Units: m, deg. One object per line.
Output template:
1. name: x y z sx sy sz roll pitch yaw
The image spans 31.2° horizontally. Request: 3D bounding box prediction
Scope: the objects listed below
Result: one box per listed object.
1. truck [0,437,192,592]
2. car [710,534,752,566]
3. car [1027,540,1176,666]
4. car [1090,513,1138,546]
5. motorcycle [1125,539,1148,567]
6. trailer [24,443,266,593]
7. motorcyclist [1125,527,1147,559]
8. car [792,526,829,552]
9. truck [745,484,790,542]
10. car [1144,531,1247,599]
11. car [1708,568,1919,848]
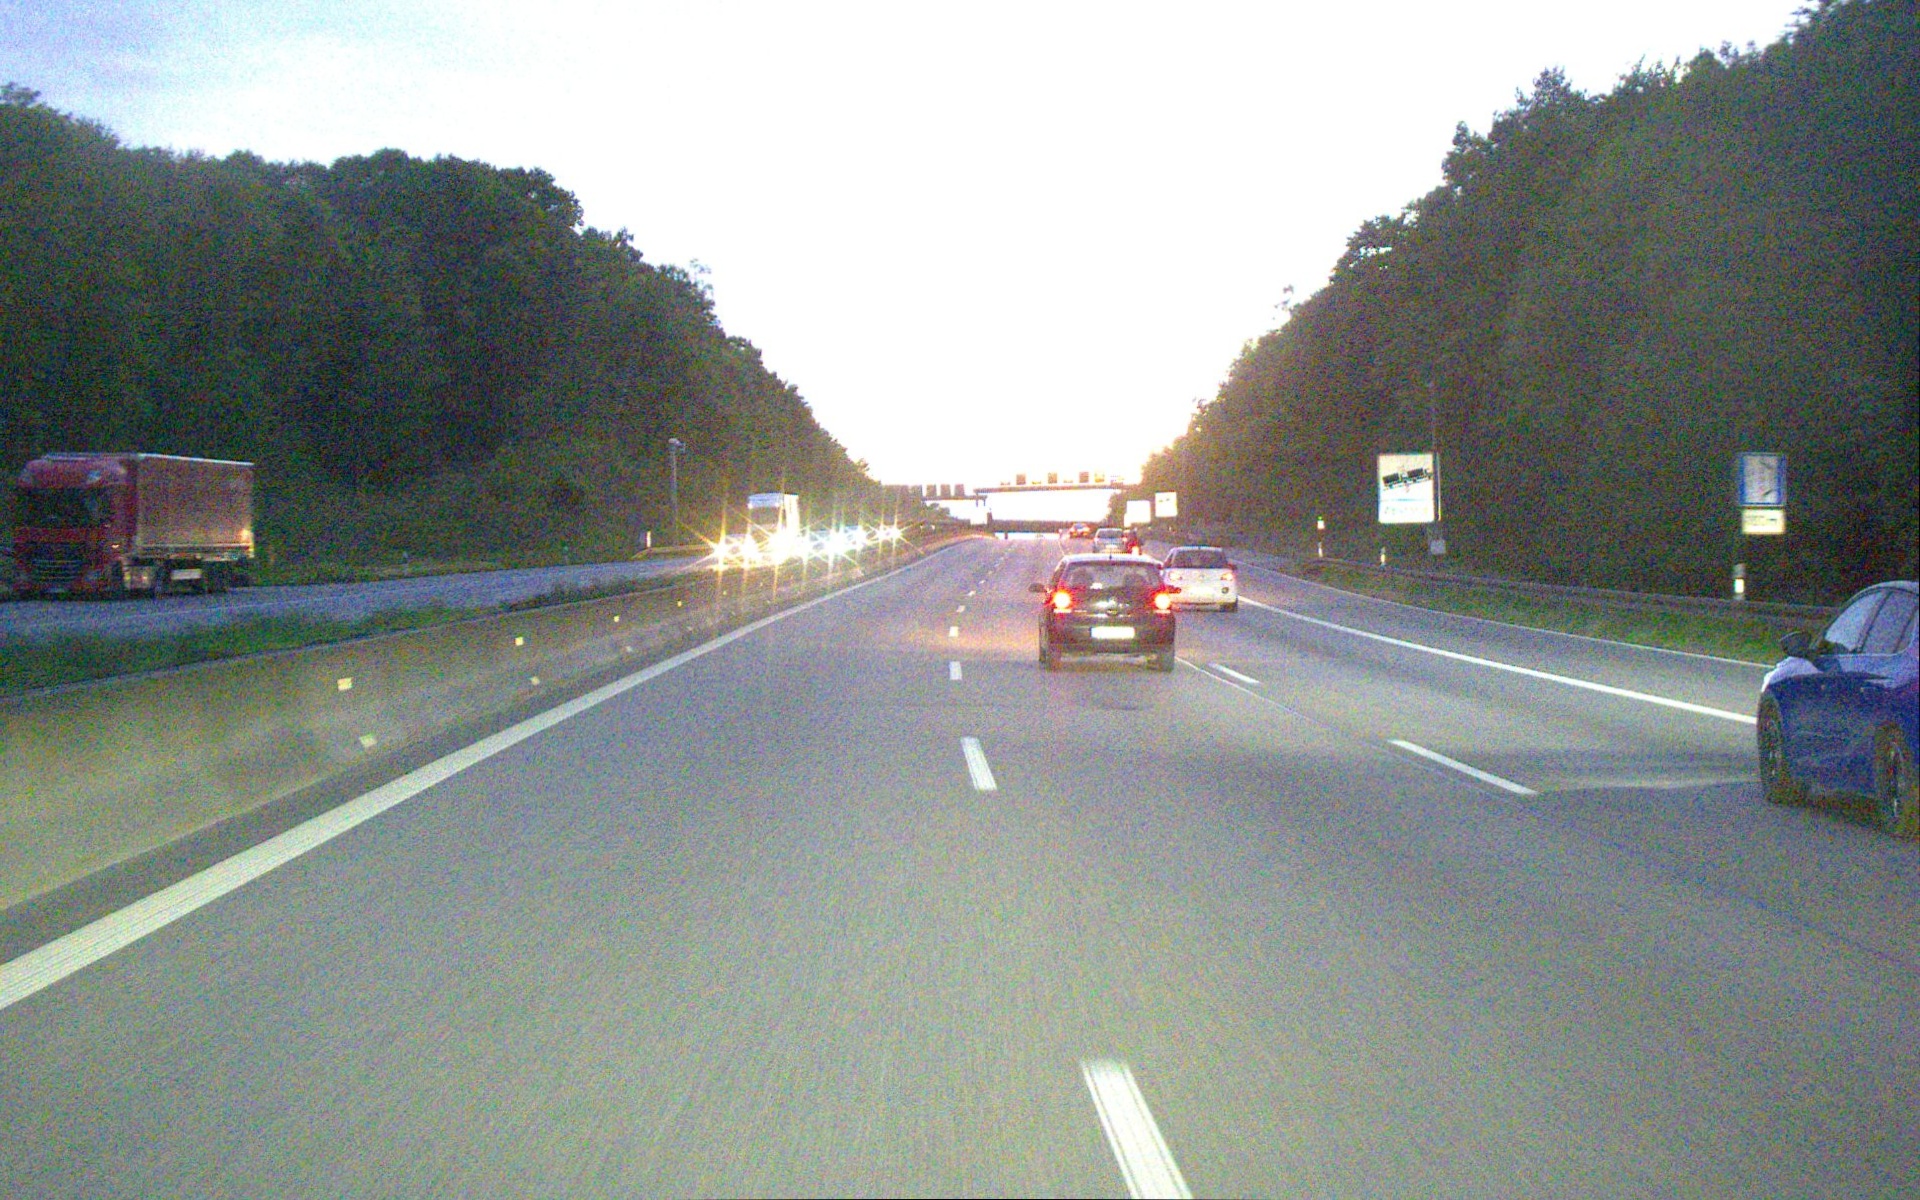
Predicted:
1. truck: -23.937 -2.327 95.517 3.191 4.090 7.689 0 1 2
2. car: -11.316 -2.486 170.257 1.686 1.510 4.414 0 1 1
3. car: 1.770 0.032 44.126 1.704 1.504 4.232 1 0 0
4. car: 7.449 -3.393 166.738 1.865 1.489 4.399 1 0 -3
5. motorcycle: 7.093 -1.894 138.484 0.830 1.130 2.476 0 1 1
6. trailer: -23.724 -2.335 101.115 3.191 4.090 14.183 0 1 2
7. motorcyclist: 7.088 -2.301 138.412 0.830 1.287 1.190 0 0 1
8. car: -7.951 -3.258 182.944 1.850 1.377 4.645 0 1 -1
9. truck: -13.525 -6.123 242.283 2.647 3.958 7.122 0 1 1
10. car: 5.366 -0.783 78.716 1.825 1.471 4.399 1 0 -3
11. car: 5.885 0.559 20.185 1.865 1.431 4.584 1 1 -1
